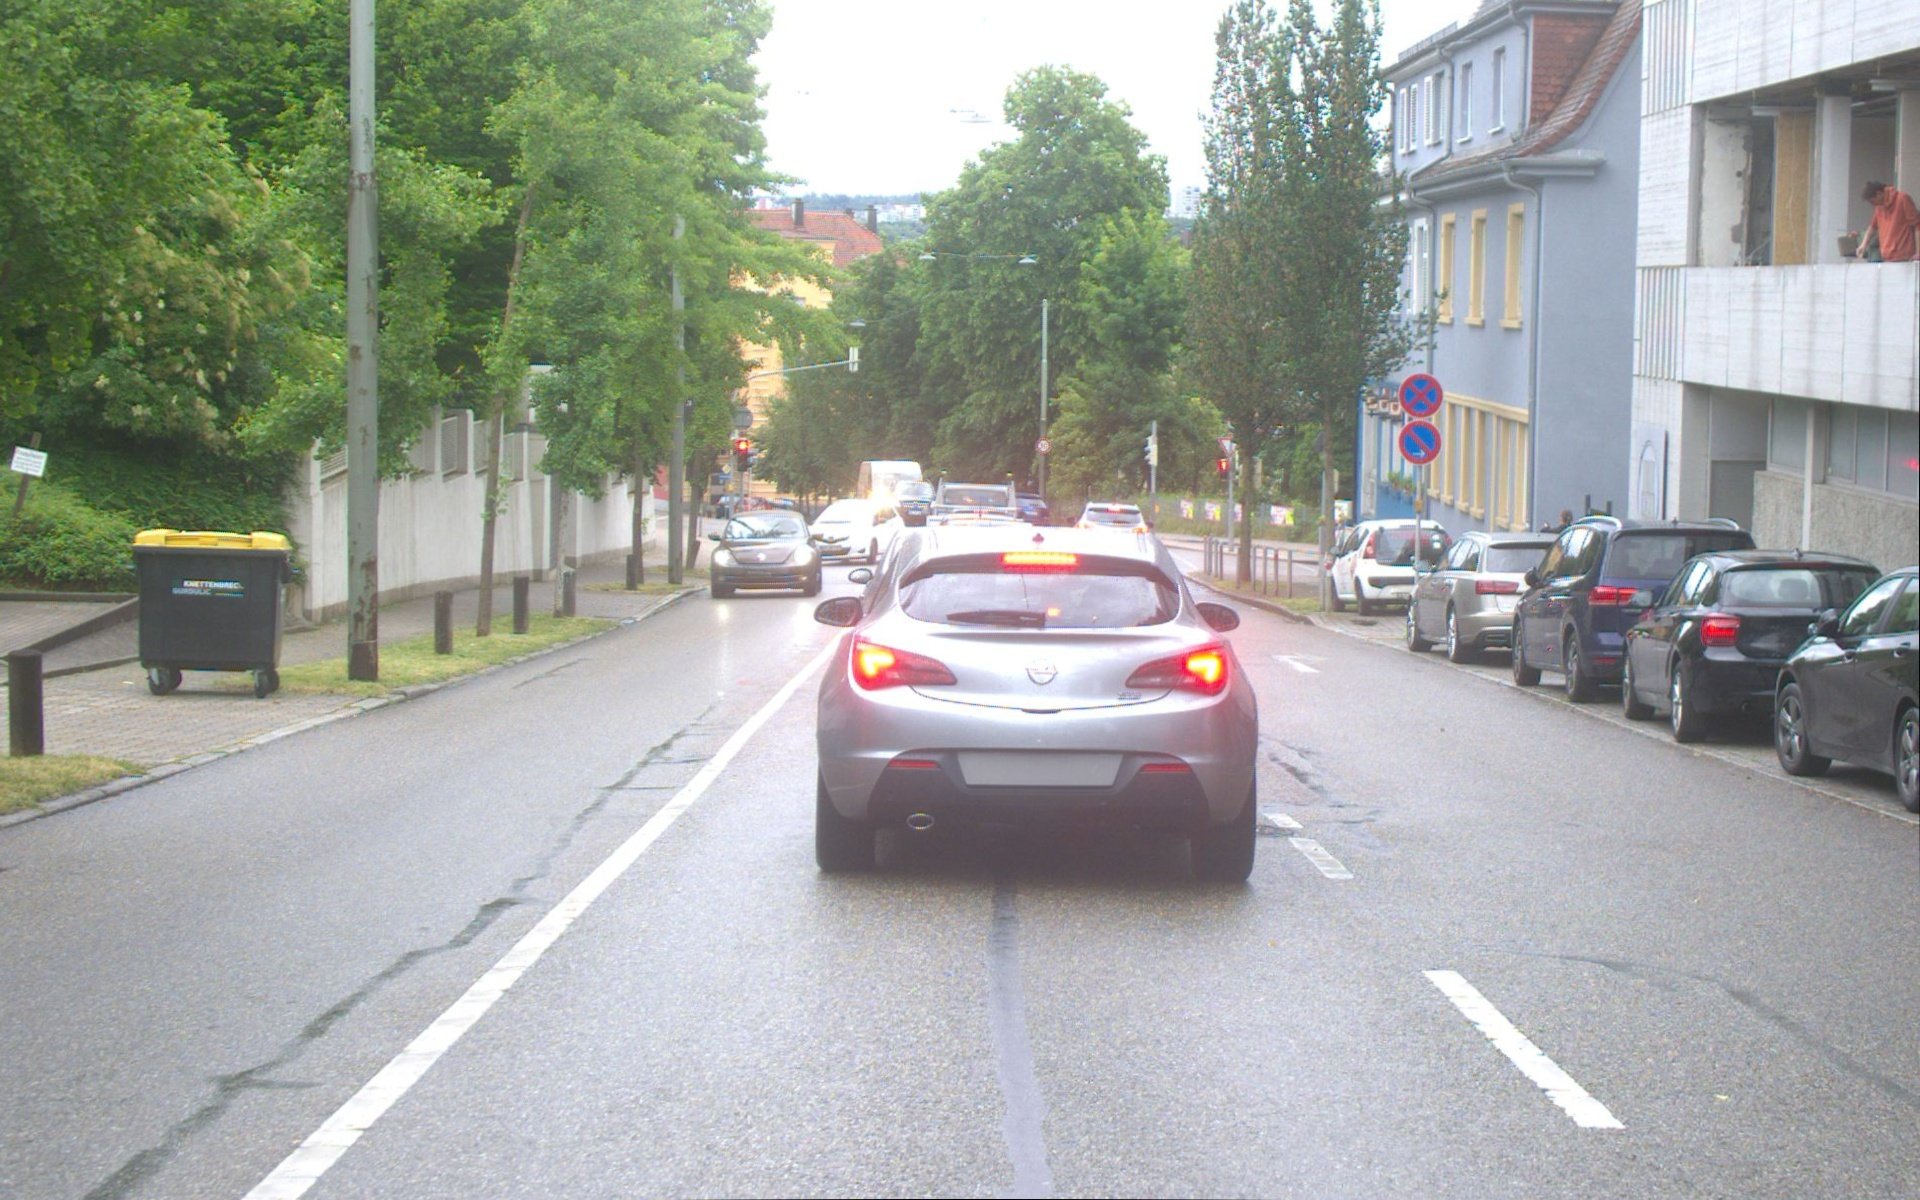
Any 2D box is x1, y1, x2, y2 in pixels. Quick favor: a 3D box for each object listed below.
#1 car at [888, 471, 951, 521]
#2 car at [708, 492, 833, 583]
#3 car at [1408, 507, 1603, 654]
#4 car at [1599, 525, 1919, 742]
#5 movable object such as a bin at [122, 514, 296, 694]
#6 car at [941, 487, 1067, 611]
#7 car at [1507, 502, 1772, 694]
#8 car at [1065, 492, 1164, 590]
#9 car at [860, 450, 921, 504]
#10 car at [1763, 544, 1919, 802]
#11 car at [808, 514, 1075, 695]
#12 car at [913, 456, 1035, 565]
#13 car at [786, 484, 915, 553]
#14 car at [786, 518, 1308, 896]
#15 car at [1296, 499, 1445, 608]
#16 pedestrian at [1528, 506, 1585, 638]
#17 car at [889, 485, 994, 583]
[{"bbox_3d":[-1.371,-3.603,118.392,1.993,1.530,4.309,4,3,0],"label":"car"},{"bbox_3d":[-3.278,-1.121,60.238,1.850,1.464,4.088,-2,2,1],"label":"car"},{"bbox_3d":[6.107,-0.264,38.883,1.584,1.488,4.290,0,3,1],"label":"car"},{"bbox_3d":[6.142,0.195,26.691,1.681,1.459,4.001,0,3,1],"label":"car"},{"bbox_3d":[-6.059,0.027,27.761,1.272,1.382,0.489,2,3,-2],"label":"movable object such as a bin"},{"bbox_3d":[0.678,-0.863,55.816,1.768,1.775,3.977,4,3,-2],"label":"car"},{"bbox_3d":[6.127,-0.075,31.397,1.686,1.565,4.001,0,3,1],"label":"car"},{"bbox_3d":[3.600,-1.420,80.769,1.993,2.029,4.735,4,3,0],"label":"car"},{"bbox_3d":[-2.525,-4.519,125.863,1.993,1.778,4.001,4,3,1],"label":"car"},{"bbox_3d":[6.155,0.391,20.959,1.503,1.430,4.001,0,1,-1],"label":"car"},{"bbox_3d":[-0.223,-0.011,28.084,1.797,1.318,4.001,2,1,-5],"label":"car"},{"bbox_3d":[0.301,-1.921,72.238,2.334,2.029,4.735,4,3,0],"label":"car"},{"bbox_3d":[-2.631,-2.003,83.548,1.824,1.474,3.860,-2,3,19],"label":"car"},{"bbox_3d":[0.248,0.380,15.457,1.945,1.427,3.885,1,2,-4],"label":"car"},{"bbox_3d":[6.383,-0.760,53.805,1.906,1.565,4.001,0,3,1],"label":"car"},{"bbox_3d":[8.138,-0.387,46.938,0.645,1.778,0.542,1,2,1],"label":"pedestrian"},{"bbox_3d":[-0.376,-1.253,64.064,1.754,1.645,4.001,4,2,-2],"label":"car"}]
